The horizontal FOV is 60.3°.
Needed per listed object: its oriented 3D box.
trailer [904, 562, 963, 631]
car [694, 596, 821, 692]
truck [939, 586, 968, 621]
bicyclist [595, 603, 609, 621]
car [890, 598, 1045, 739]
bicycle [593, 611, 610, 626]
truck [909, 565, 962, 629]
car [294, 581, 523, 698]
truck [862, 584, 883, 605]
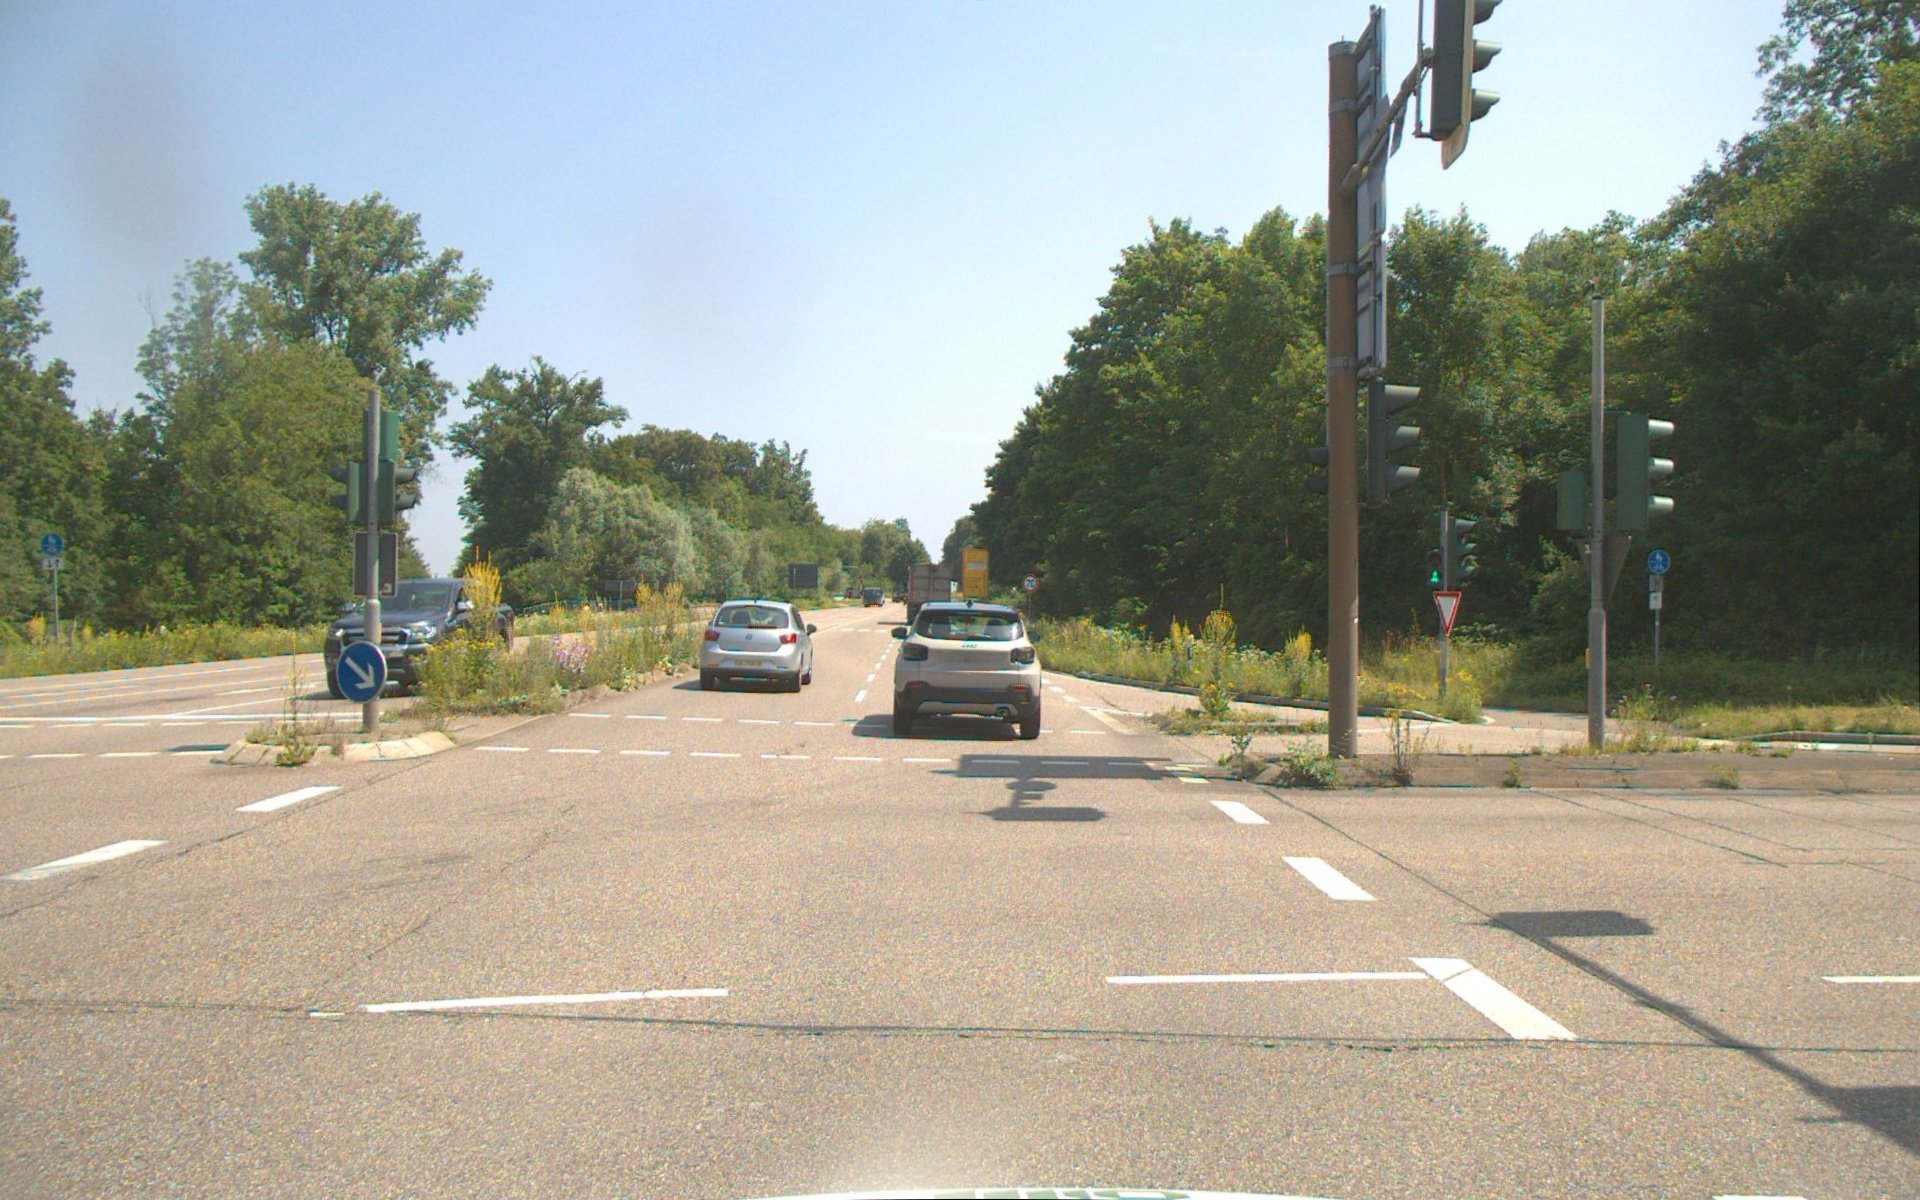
[{"bbox_3d":[-1.595,-0.176,105.499,3.313,4.058,10.804,2,-1,1],"label":"trailer"},{"bbox_3d":[-3.334,0.692,27.845,1.631,1.455,3.828,2,0,0],"label":"car"},{"bbox_3d":[-0.863,0.454,210.540,3.426,4.261,10.780,2,-1,-1],"label":"truck"},{"bbox_3d":[-25.005,0.819,115.514,0.719,1.216,0.592,-1,-1,10],"label":"bicyclist"},{"bbox_3d":[0.089,0.780,20.710,1.731,1.561,4.000,1,0,0],"label":"car"},{"bbox_3d":[-25.034,1.316,115.447,0.591,1.023,1.557,-1,-1,10],"label":"bicycle"},{"bbox_3d":[-1.560,-0.170,110.700,3.264,4.058,6.533,2,-1,1],"label":"truck"},{"bbox_3d":[-8.912,0.589,27.271,1.953,1.707,5.365,-1,0,0],"label":"car"},{"bbox_3d":[-11.631,-0.706,220.361,2.404,2.703,6.490,-2,0,0],"label":"truck"}]
